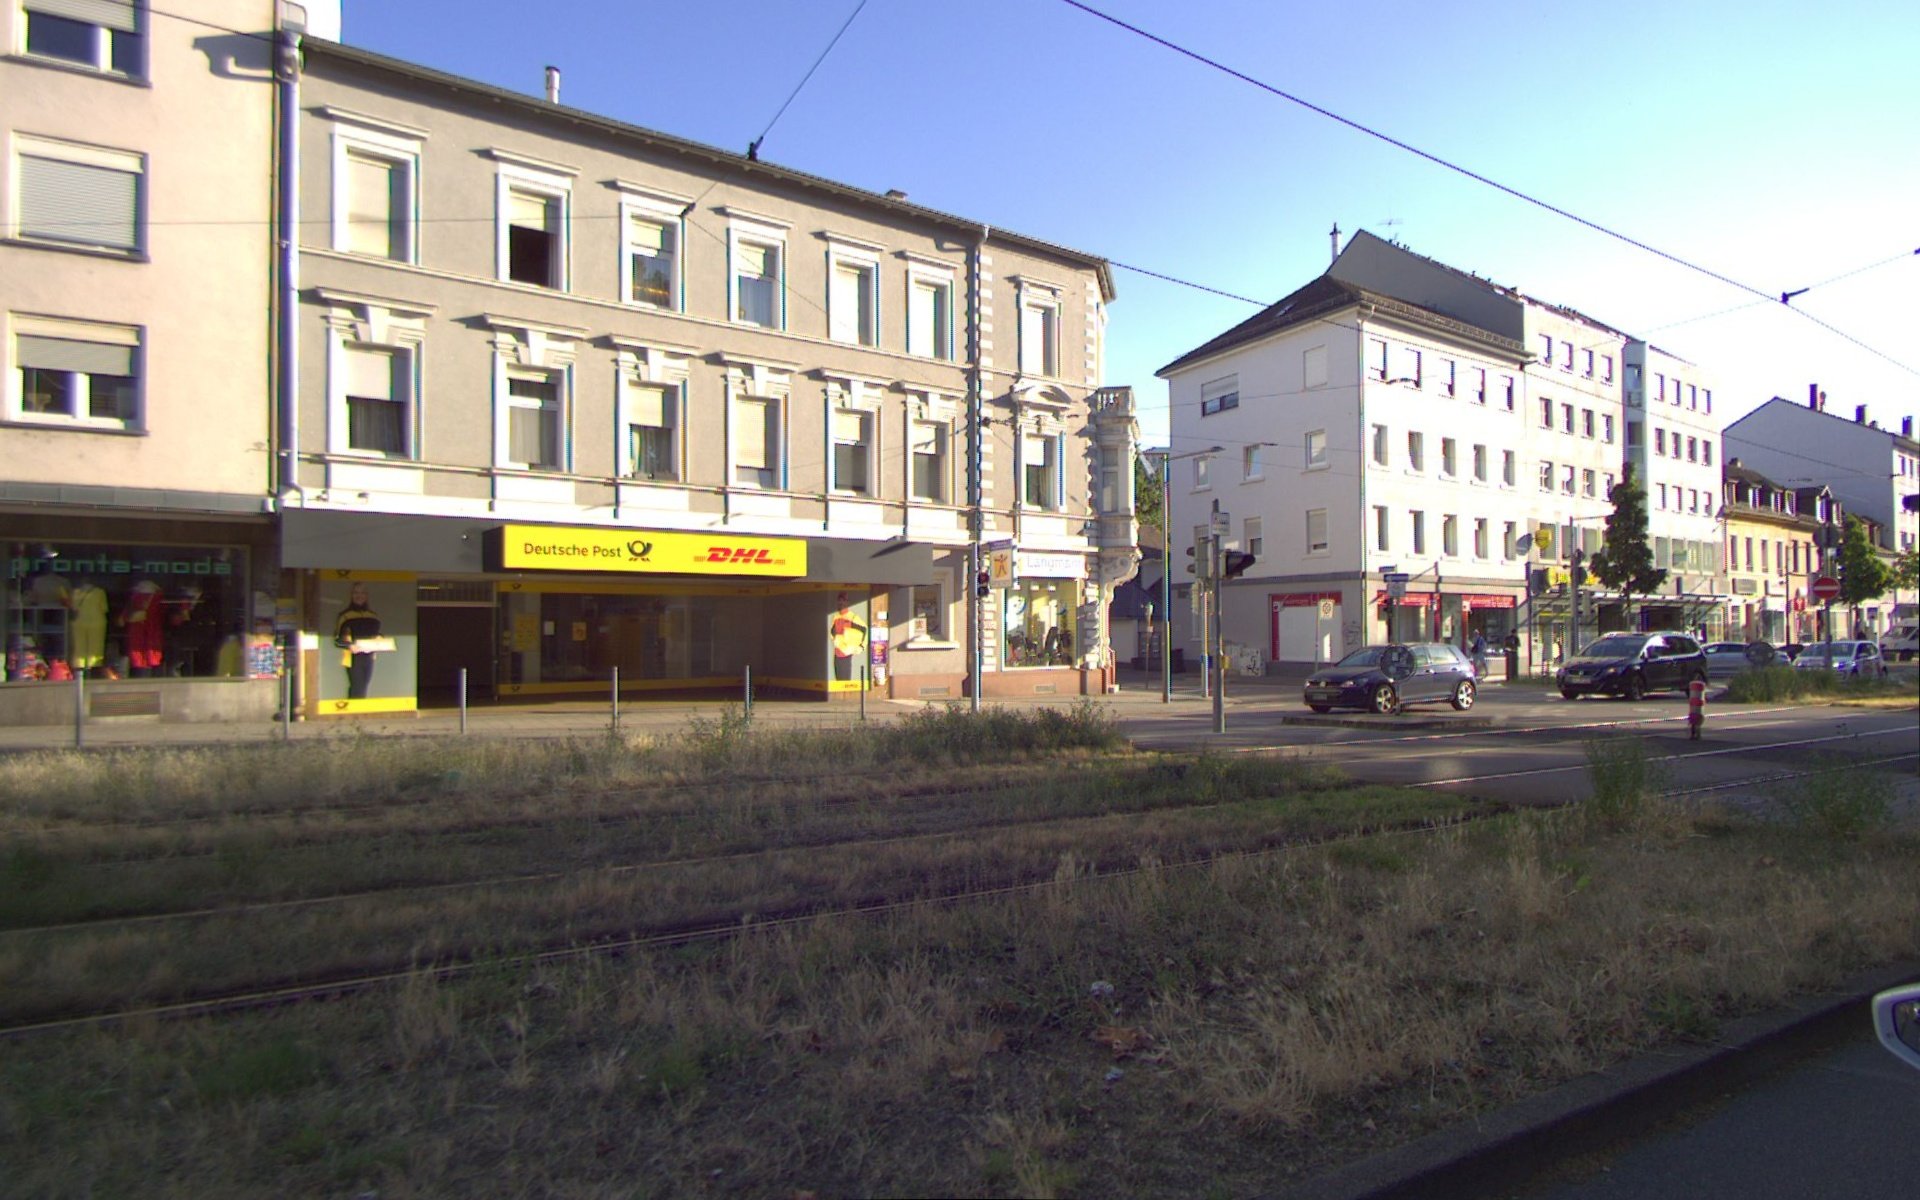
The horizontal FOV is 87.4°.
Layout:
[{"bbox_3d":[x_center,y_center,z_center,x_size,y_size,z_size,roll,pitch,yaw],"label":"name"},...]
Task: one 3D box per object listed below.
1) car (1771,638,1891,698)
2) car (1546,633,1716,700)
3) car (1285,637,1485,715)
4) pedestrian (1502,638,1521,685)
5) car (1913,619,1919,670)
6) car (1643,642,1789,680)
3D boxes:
[{"bbox_3d":[28.329,2.175,32.643,3.956,1.828,1.887,2,-2,-32],"label":"car"},{"bbox_3d":[17.535,1.681,26.225,4.451,1.636,1.774,1,-2,-28],"label":"car"},{"bbox_3d":[9.045,1.576,21.354,3.992,1.469,1.774,0,-3,-28],"label":"car"},{"bbox_3d":[20.718,2.309,37.724,0.501,1.736,0.424,1,-2,-25],"label":"pedestrian"},{"bbox_3d":[40.386,1.821,40.461,3.956,2.040,1.983,2,-2,-32],"label":"car"},{"bbox_3d":[31.024,2.480,41.386,4.466,1.431,1.999,0,-2,25],"label":"car"}]
